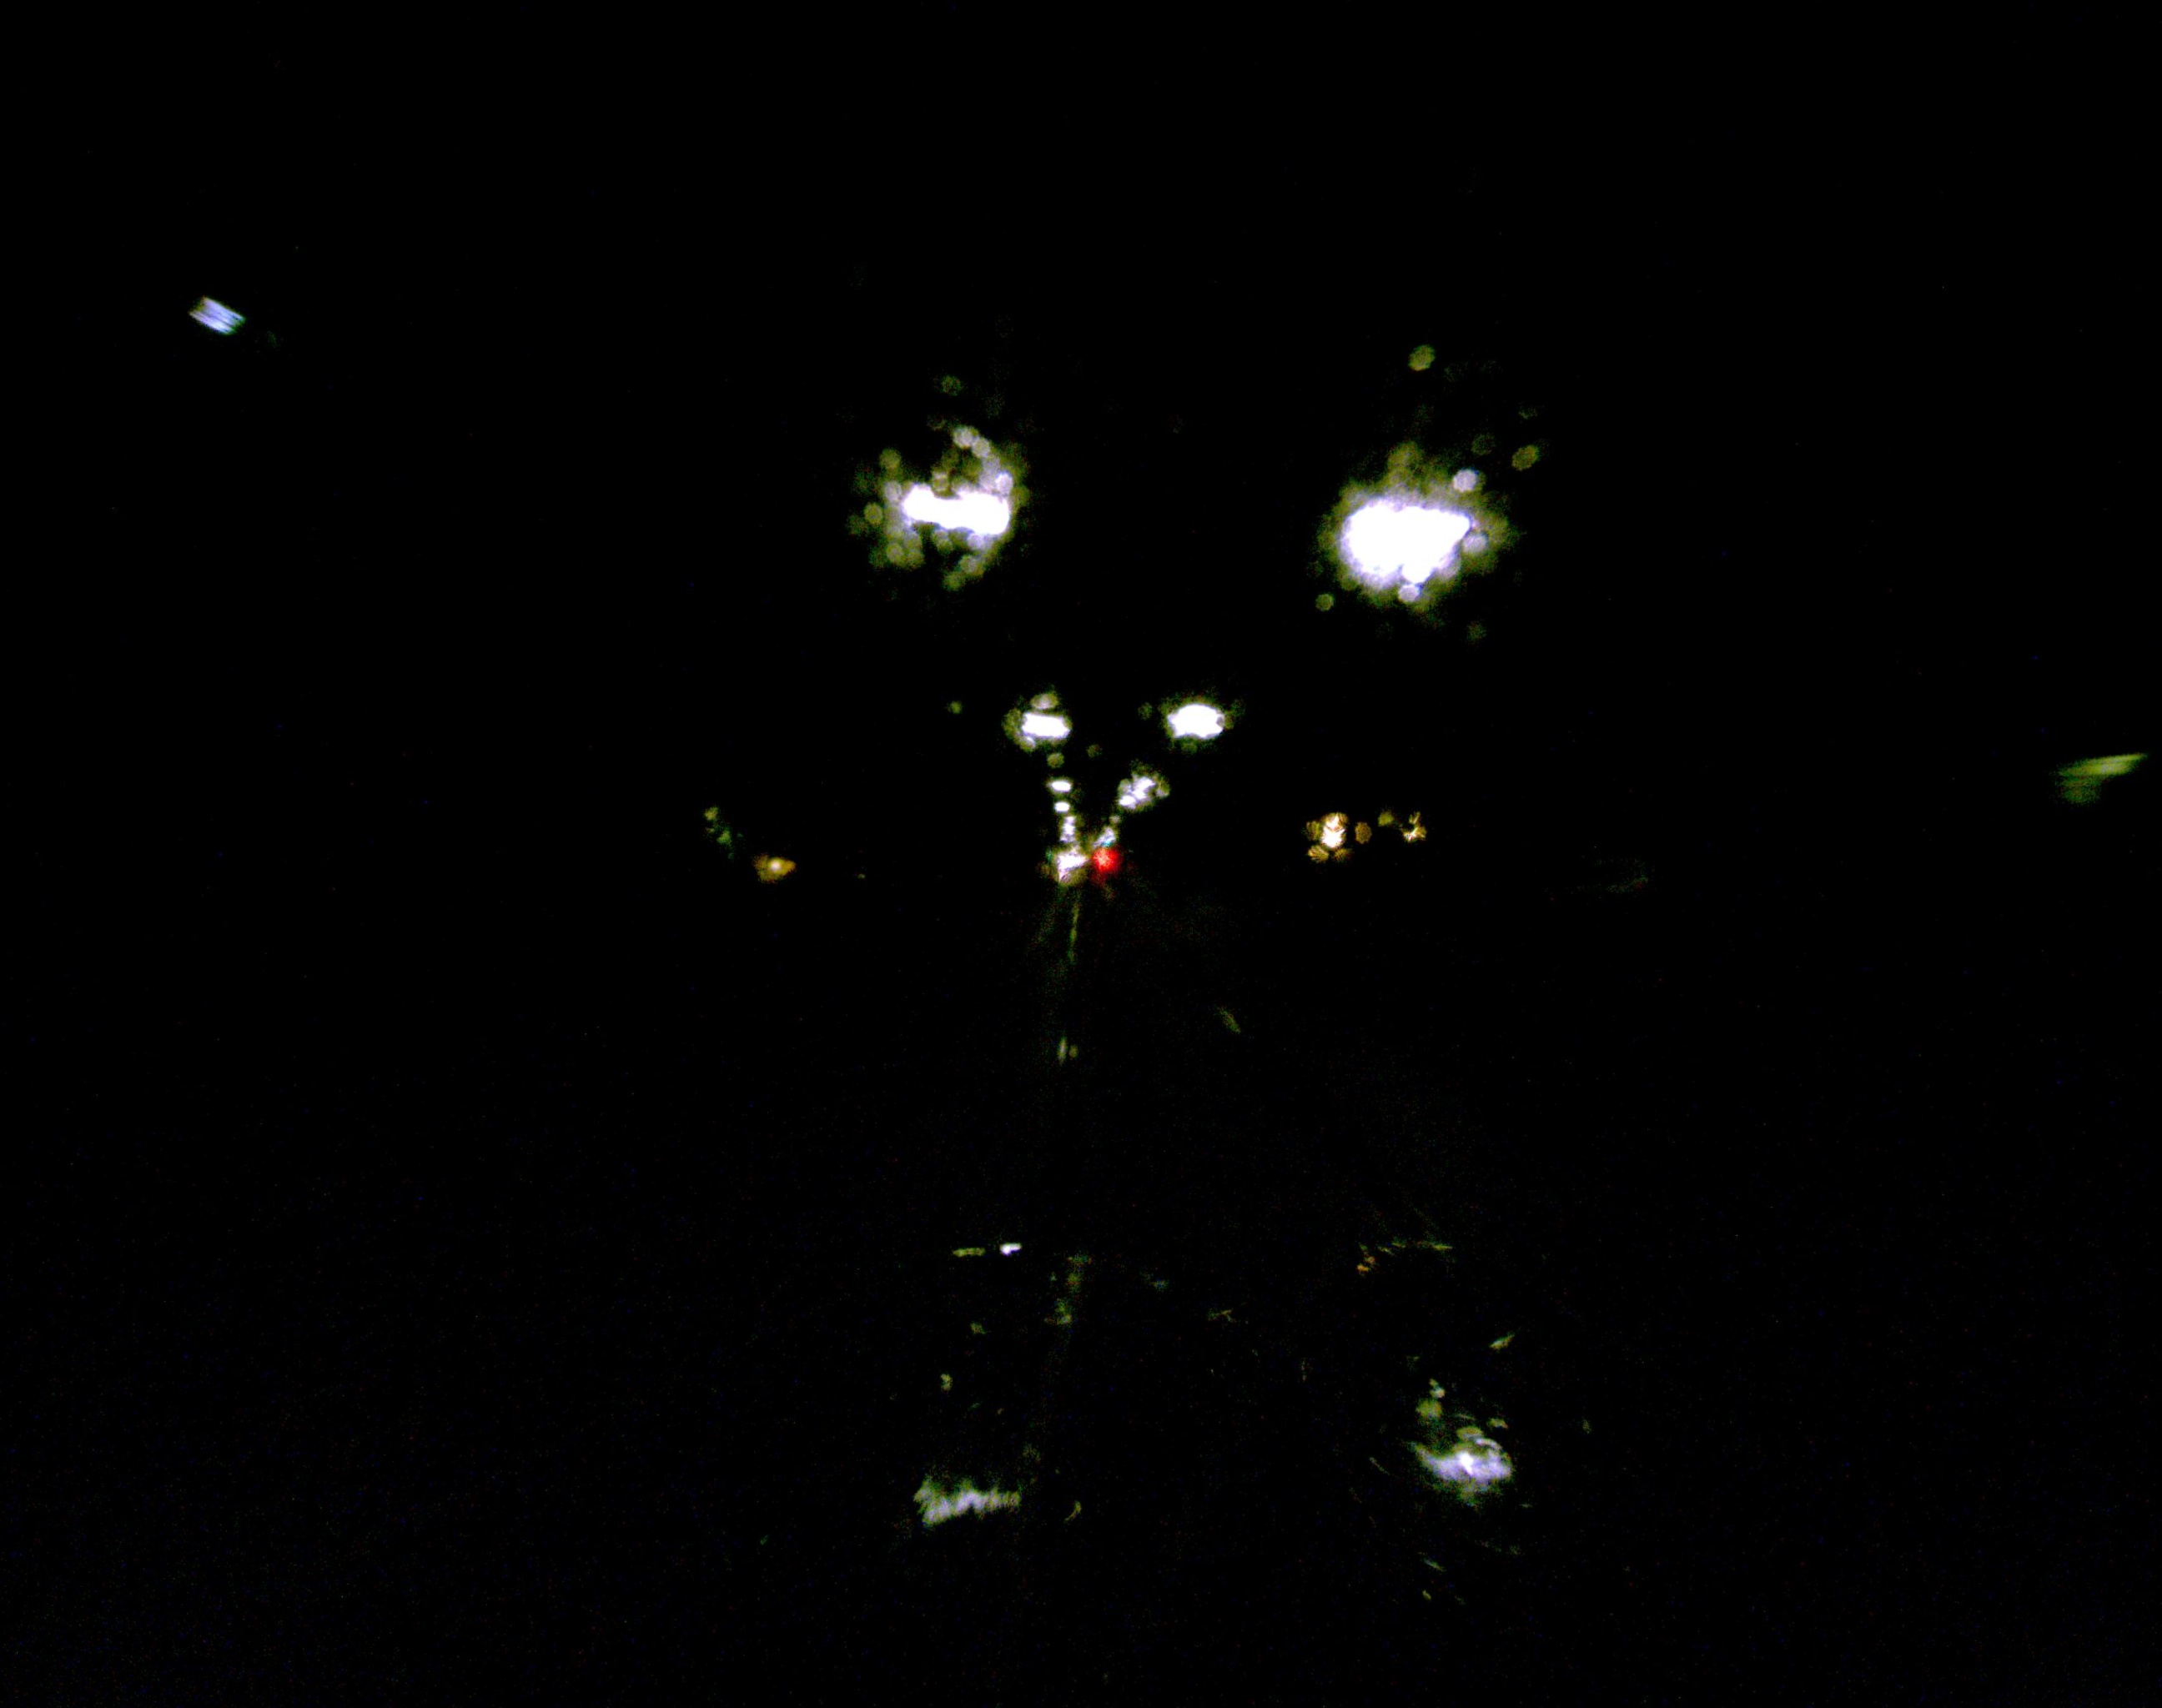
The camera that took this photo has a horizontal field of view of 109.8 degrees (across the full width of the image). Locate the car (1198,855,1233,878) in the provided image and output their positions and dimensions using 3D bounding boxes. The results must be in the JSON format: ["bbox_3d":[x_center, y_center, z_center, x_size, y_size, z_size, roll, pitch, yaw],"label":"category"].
[{"bbox_3d":[9.445,0.838,53.559,1.723,1.447,3.950,-1,1,0],"label":"car"}]

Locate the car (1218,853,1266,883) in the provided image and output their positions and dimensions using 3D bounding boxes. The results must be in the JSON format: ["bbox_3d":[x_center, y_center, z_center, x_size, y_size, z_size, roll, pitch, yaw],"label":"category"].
[{"bbox_3d":[9.372,0.783,44.464,1.814,1.569,4.353,-4,0,0],"label":"car"}]

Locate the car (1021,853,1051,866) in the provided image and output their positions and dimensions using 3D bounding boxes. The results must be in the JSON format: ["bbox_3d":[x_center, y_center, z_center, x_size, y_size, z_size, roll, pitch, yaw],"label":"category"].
[{"bbox_3d":[-6.492,0.756,109.818,3.965,1.760,1.666,-2,1,-37],"label":"car"}]

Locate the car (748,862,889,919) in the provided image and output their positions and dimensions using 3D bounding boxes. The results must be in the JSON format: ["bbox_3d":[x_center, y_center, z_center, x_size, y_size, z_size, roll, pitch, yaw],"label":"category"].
[{"bbox_3d":[-7.520,1.012,21.979,3.708,1.509,1.656,0,0,-18],"label":"car"}]

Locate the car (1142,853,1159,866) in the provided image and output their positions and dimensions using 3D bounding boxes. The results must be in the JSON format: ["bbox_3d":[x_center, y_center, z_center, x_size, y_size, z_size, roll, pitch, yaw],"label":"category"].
[{"bbox_3d":[9.828,0.763,107.854,1.846,1.572,3.663,-3,1,-1],"label":"car"}]

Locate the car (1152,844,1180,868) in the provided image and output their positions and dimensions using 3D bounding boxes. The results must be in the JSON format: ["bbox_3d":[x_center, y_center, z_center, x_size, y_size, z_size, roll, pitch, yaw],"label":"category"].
[{"bbox_3d":[9.631,0.183,86.858,2.248,2.494,5.258,-3,1,-2],"label":"car"}]

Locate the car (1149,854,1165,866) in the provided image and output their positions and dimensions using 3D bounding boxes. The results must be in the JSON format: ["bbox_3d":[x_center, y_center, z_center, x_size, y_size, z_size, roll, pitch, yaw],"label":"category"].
[{"bbox_3d":[9.890,0.810,99.129,1.720,1.399,3.389,-3,1,-1],"label":"car"}]

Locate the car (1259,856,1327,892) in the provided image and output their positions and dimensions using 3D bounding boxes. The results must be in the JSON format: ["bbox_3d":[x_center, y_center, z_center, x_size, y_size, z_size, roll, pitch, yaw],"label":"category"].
[{"bbox_3d":[9.339,0.834,33.857,1.735,1.430,4.625,-1,0,1],"label":"car"}]

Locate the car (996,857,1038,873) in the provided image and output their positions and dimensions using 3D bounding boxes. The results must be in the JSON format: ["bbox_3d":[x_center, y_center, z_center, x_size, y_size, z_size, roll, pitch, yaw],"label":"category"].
[{"bbox_3d":[-6.448,1.088,77.351,1.658,1.473,4.194,-3,-1,42],"label":"car"}]

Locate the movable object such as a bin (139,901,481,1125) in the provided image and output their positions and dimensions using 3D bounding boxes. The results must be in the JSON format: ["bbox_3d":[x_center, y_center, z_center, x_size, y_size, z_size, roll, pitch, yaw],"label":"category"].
[{"bbox_3d":[-5.585,1.088,5.647,1.326,1.400,1.159,0,1,-5],"label":"movable object such as a bin"}]

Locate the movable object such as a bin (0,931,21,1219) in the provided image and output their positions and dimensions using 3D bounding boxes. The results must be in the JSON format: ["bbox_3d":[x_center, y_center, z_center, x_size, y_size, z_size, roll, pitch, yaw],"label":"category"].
[{"bbox_3d":[-6.043,1.090,3.325,1.371,1.414,1.073,0,1,6],"label":"movable object such as a bin"}]

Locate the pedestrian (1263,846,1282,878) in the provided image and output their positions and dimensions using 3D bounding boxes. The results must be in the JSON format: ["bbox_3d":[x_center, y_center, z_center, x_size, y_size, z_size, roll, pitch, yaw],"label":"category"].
[{"bbox_3d":[11.831,0.483,47.012,0.794,1.890,1.290,-1,1,1],"label":"pedestrian"}]

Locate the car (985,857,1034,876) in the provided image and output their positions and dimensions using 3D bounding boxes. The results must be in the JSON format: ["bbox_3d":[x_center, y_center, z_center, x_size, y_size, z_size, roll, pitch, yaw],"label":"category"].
[{"bbox_3d":[-6.052,1.058,64.729,1.707,1.503,3.914,-1,1,43],"label":"car"}]

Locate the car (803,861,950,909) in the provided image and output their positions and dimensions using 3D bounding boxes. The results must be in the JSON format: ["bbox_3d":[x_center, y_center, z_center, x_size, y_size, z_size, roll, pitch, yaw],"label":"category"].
[{"bbox_3d":[-6.866,0.996,25.542,4.604,1.467,1.837,0,0,-19],"label":"car"}]

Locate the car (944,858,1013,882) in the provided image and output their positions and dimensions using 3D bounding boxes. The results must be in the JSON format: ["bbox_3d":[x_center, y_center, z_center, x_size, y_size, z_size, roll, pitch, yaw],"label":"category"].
[{"bbox_3d":[-6.911,1.070,51.441,4.350,1.459,1.677,-1,0,-38],"label":"car"}]

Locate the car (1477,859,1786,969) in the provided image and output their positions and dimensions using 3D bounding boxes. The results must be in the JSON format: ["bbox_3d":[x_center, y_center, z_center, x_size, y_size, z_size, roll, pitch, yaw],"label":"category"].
[{"bbox_3d":[9.013,0.864,13.066,1.778,1.432,4.606,-2,0,-3],"label":"car"}]

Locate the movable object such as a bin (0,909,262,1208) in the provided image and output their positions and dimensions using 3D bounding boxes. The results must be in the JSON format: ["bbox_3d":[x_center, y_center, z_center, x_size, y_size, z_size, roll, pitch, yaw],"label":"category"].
[{"bbox_3d":[-5.997,1.082,4.455,1.210,1.414,1.101,0,1,6],"label":"movable object such as a bin"}]

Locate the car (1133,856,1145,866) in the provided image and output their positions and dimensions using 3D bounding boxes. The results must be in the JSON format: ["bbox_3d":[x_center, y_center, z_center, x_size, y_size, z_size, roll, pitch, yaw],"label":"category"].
[{"bbox_3d":[9.820,1.235,128.927,1.693,1.565,3.918,-1,1,0],"label":"car"}]

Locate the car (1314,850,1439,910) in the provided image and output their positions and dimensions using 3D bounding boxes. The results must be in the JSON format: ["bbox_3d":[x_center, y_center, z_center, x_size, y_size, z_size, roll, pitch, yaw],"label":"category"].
[{"bbox_3d":[9.319,0.740,24.450,2.149,1.610,4.588,-4,1,0],"label":"car"}]
